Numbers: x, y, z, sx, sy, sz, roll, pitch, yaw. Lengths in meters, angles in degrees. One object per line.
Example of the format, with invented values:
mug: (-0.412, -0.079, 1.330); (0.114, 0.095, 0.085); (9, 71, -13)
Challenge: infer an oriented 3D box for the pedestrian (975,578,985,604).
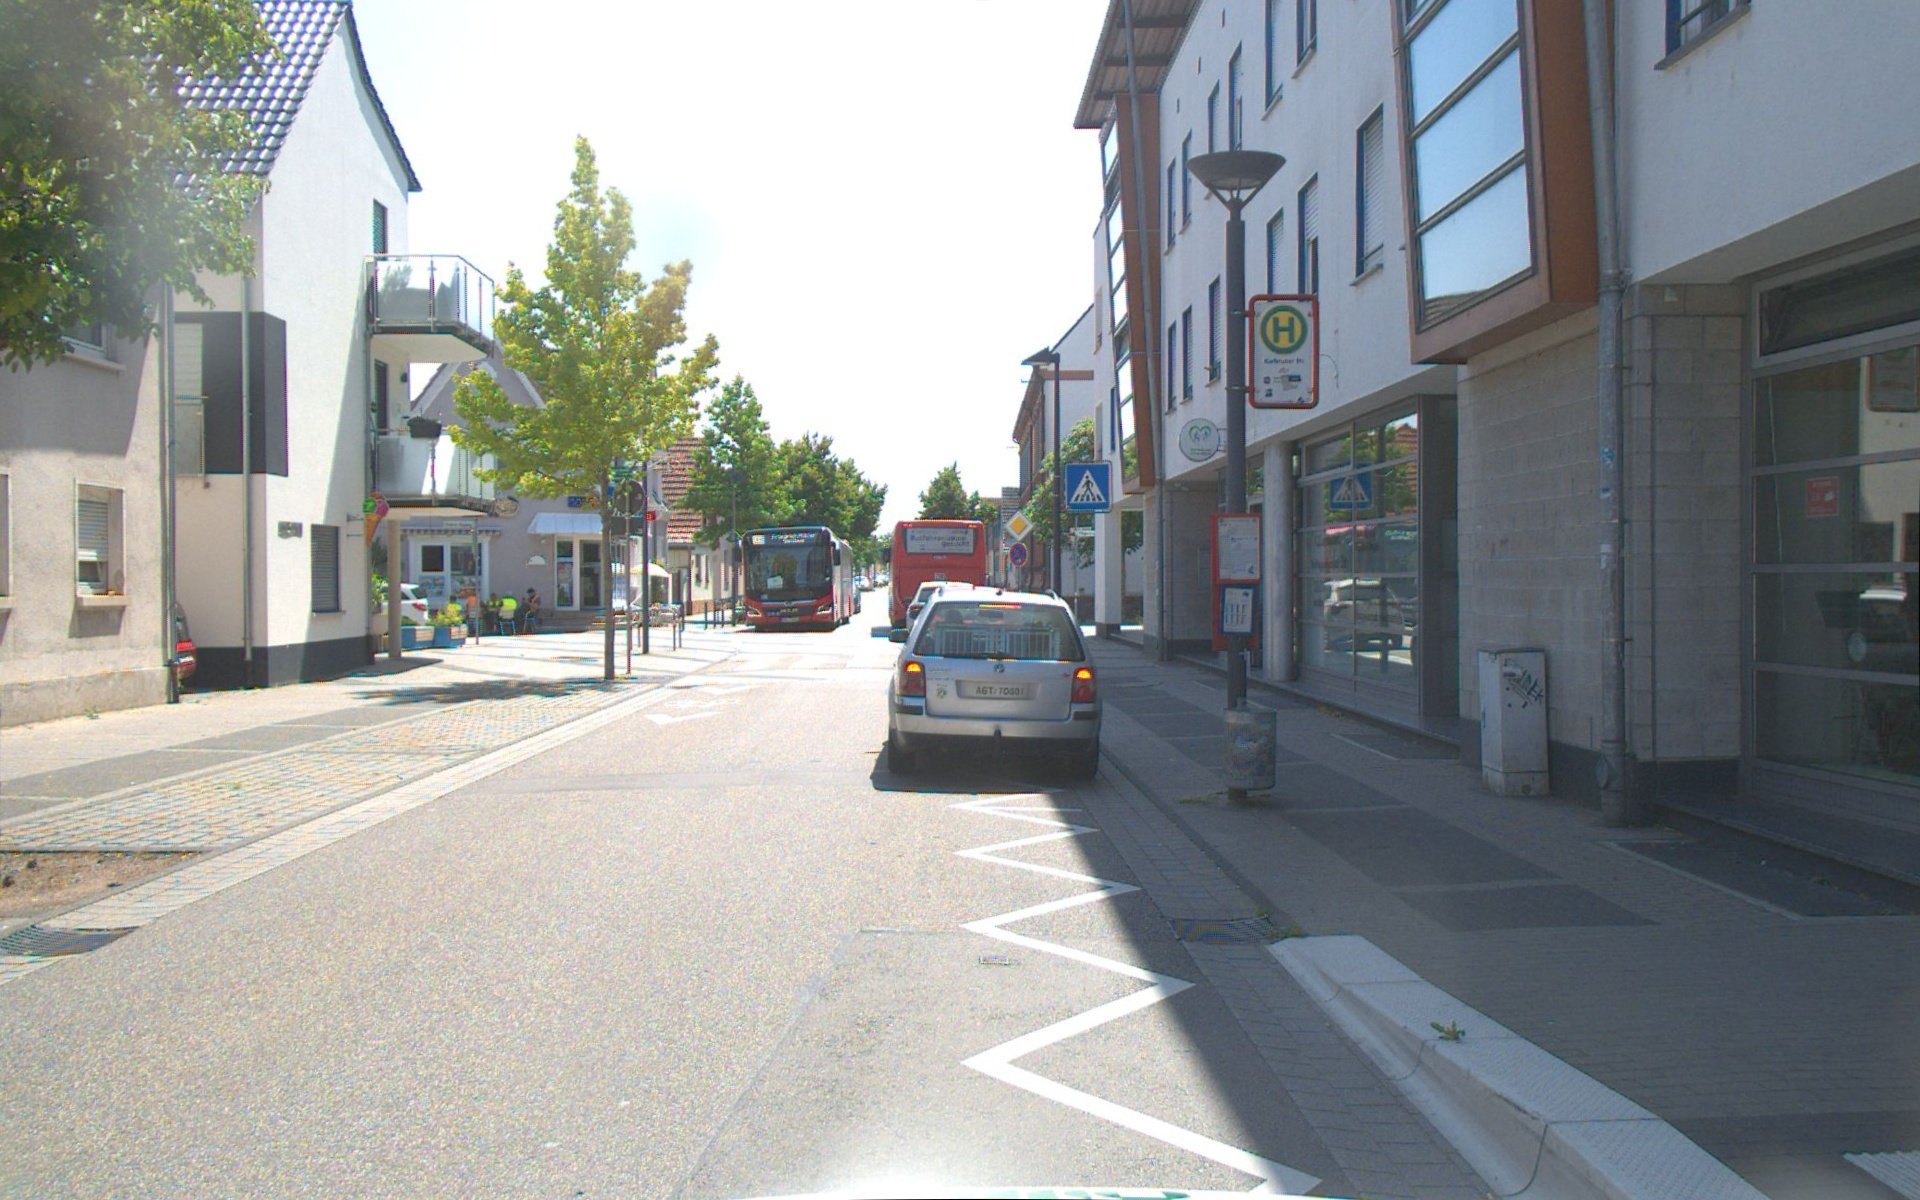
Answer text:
pedestrian: (1.277, -0.584, 107.443); (0.594, 1.696, 0.789); (0, 0, -3)

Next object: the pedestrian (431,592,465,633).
pedestrian: (-14.577, 0.358, 47.085); (0.631, 1.135, 0.776); (2, 0, -45)

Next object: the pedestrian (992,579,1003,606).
pedestrian: (2.408, -0.468, 106.263); (0.594, 1.696, 0.789); (0, 0, -3)

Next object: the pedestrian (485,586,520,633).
pedestrian: (-13.280, 0.280, 47.998); (0.631, 1.311, 0.776); (2, 0, -45)

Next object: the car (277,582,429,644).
car: (-16.684, 0.339, 45.640); (3.855, 1.572, 1.510); (-1, 2, -19)

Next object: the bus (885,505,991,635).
bus: (-0.852, -0.794, 49.298); (2.685, 3.356, 12.698); (0, 0, -3)

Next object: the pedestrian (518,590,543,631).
pedestrian: (-12.749, 0.299, 49.061); (0.610, 1.199, 0.696); (0, 0, -6)

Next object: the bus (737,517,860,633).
bus: (-5.023, -0.771, 54.939); (2.614, 3.178, 17.803); (-1, 0, -1)

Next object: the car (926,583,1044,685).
car: (0.319, 0.472, 25.445); (1.643, 1.455, 3.678); (1, 0, -2)

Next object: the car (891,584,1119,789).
car: (0.291, 0.627, 14.086); (1.643, 1.455, 3.678); (2, 0, -2)

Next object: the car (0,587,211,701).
car: (-12.017, 0.570, 22.390); (3.054, 1.468, 1.585); (0, 0, -7)

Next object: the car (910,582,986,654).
car: (-0.262, 0.359, 36.174); (1.561, 1.455, 3.679); (1, 0, -1)

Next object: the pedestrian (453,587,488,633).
pedestrian: (-14.240, 0.293, 48.108); (0.631, 1.311, 0.776); (2, 0, -45)
